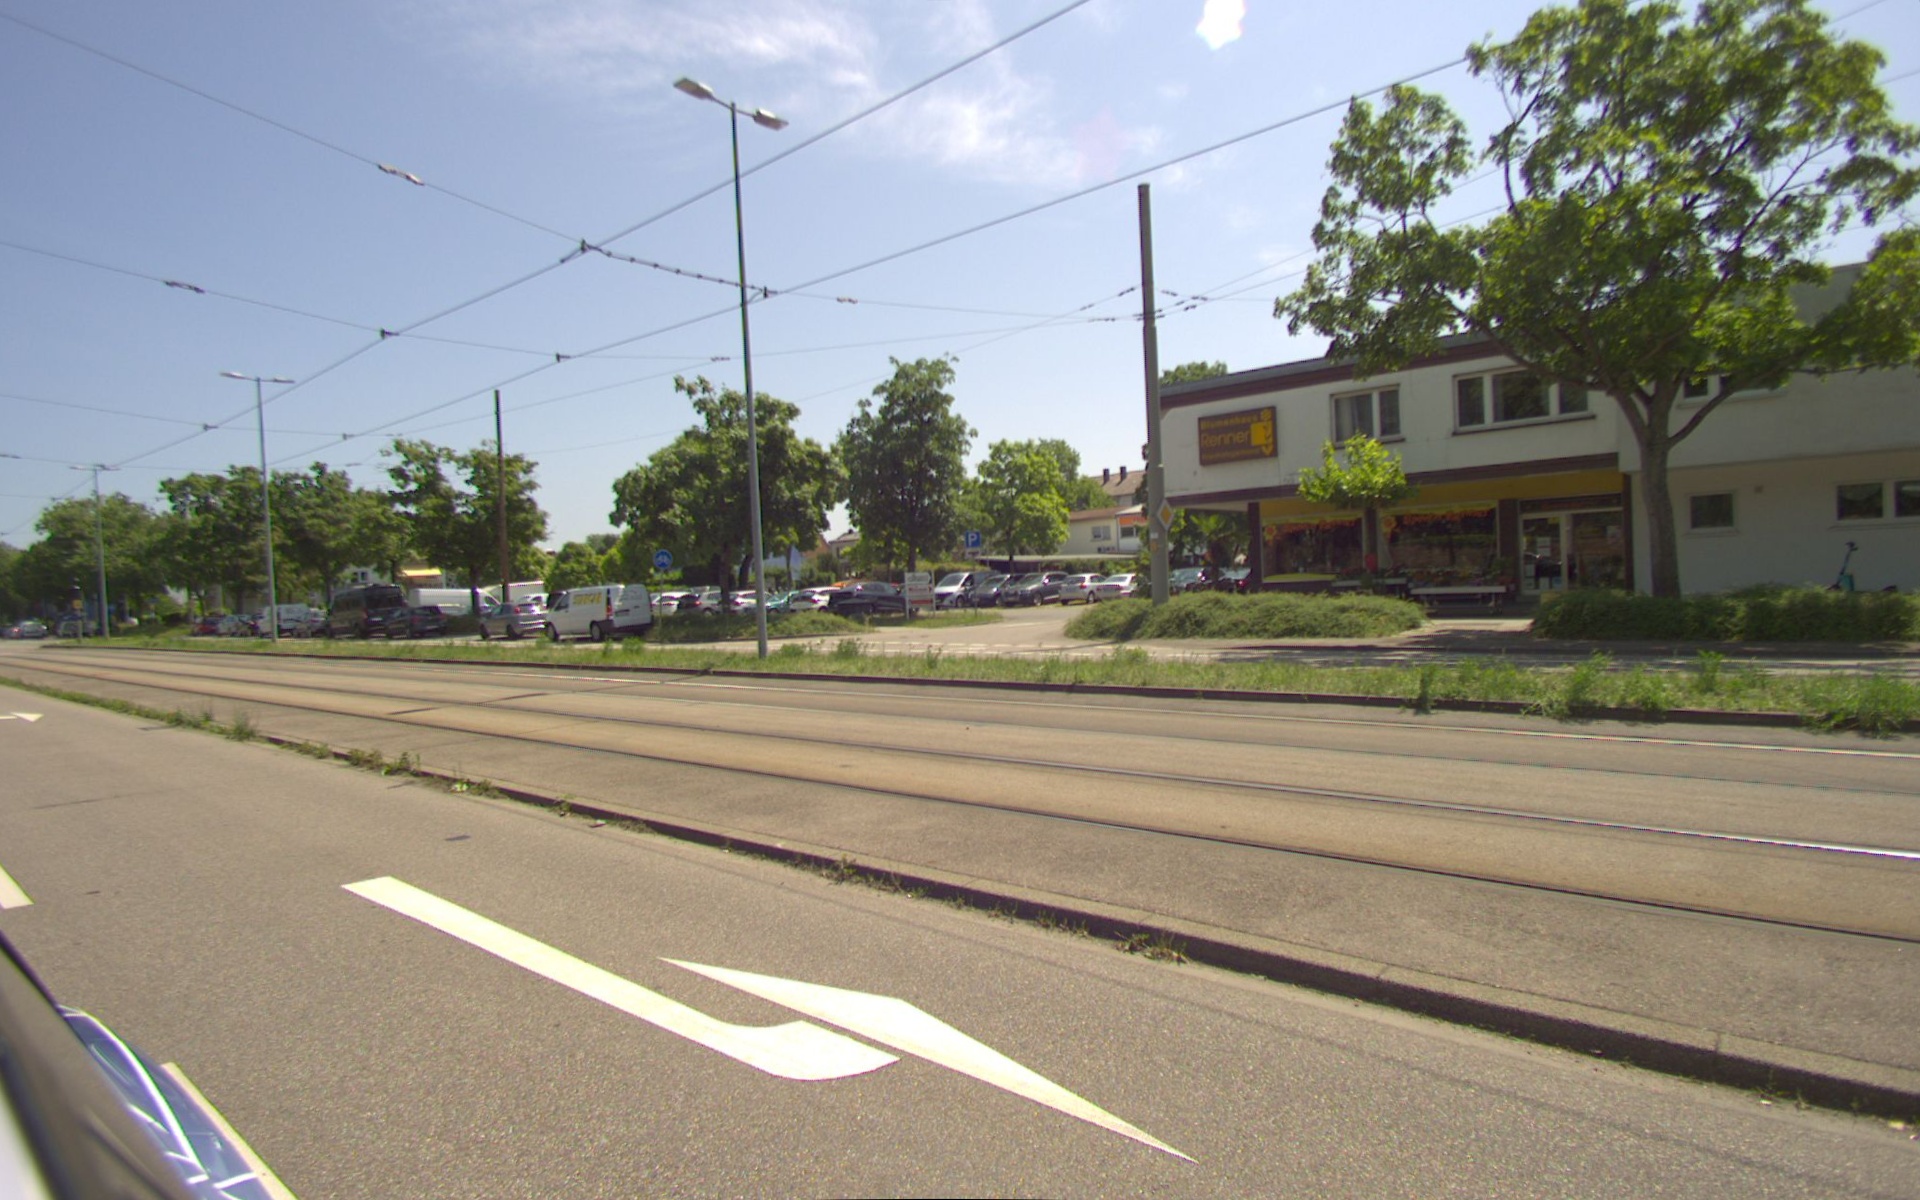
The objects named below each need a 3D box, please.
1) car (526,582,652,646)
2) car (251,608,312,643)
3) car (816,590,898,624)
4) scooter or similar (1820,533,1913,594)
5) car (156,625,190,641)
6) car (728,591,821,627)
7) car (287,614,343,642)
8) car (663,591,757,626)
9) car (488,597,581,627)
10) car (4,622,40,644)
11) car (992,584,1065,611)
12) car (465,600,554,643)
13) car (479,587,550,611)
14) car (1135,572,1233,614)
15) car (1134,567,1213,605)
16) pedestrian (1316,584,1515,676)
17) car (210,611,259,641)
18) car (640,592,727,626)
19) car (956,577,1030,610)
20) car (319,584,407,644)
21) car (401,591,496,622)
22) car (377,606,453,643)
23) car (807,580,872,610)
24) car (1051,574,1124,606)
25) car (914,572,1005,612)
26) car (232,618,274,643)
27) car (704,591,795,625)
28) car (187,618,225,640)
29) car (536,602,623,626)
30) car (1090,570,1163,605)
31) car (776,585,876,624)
[{"bbox_3d":[-13.521,0.504,36.704,5.342,2.025,1.856,-1,4,42],"label":"car"},{"bbox_3d":[-40.694,1.481,60.643,4.816,1.963,1.899,-1,0,42],"label":"car"},{"bbox_3d":[-4.269,0.276,42.442,1.639,1.241,3.386,-2,1,34],"label":"car"},{"bbox_3d":[18.808,-0.745,21.024,0.448,1.200,1.349,-1,0,-29],"label":"scooter or similar"},{"bbox_3d":[-62.124,2.554,79.878,3.423,1.167,1.561,-1,0,43],"label":"car"},{"bbox_3d":[-8.339,0.376,45.756,1.908,1.501,3.995,-1,0,34],"label":"car"},{"bbox_3d":[-36.252,1.533,56.834,3.608,1.475,1.744,-1,0,42],"label":"car"},{"bbox_3d":[-12.028,0.395,48.932,2.018,1.501,4.117,-2,1,34],"label":"car"},{"bbox_3d":[-25.971,0.728,61.888,1.997,1.588,4.867,-2,1,38],"label":"car"},{"bbox_3d":[-89.569,3.162,96.633,4.208,2.005,1.799,-1,0,38],"label":"car"},{"bbox_3d":[3.526,-0.137,51.677,1.764,1.294,3.675,-1,0,43],"label":"car"},{"bbox_3d":[-18.214,0.881,40.858,4.124,1.513,1.633,-1,4,42],"label":"car"},{"bbox_3d":[-40.733,-0.146,92.645,2.145,2.078,5.674,-1,0,38],"label":"car"},{"bbox_3d":[8.115,-0.274,36.441,1.682,1.306,3.944,-3,1,42],"label":"car"},{"bbox_3d":[9.852,-0.637,46.575,1.804,1.669,3.944,-1,0,43],"label":"car"},{"bbox_3d":[10.947,0.673,24.430,3.997,2.029,1.973,-1,0,40],"label":"pedestrian"},{"bbox_3d":[-48.536,1.749,67.668,4.494,1.907,1.614,-1,0,41],"label":"car"},{"bbox_3d":[-13.904,0.431,51.098,1.827,1.501,4.030,-2,1,34],"label":"car"},{"bbox_3d":[1.795,-0.370,53.826,1.804,1.669,3.944,-1,0,43],"label":"car"},{"bbox_3d":[-30.361,0.689,51.367,5.665,2.859,2.215,-1,0,42],"label":"car"},{"bbox_3d":[-34.551,0.428,68.530,2.029,1.970,5.363,-1,0,42],"label":"car"},{"bbox_3d":[-25.475,1.128,47.273,3.751,1.589,1.950,-1,0,42],"label":"car"},{"bbox_3d":[-7.365,-0.326,62.257,1.689,1.665,4.082,-2,0,35],"label":"car"},{"bbox_3d":[6.423,-0.517,50.700,1.661,1.531,3.944,-1,0,43],"label":"car"},{"bbox_3d":[0.011,-0.466,55.472,2.225,2.085,5.055,-1,0,41],"label":"car"},{"bbox_3d":[-44.889,1.893,64.241,3.261,1.489,1.411,-1,0,41],"label":"car"},{"bbox_3d":[-9.874,0.369,47.750,1.855,1.501,4.099,-1,0,34],"label":"car"},{"bbox_3d":[-53.376,2.046,71.588,3.423,1.491,1.561,-1,0,43],"label":"car"},{"bbox_3d":[-21.731,0.809,57.959,2.030,1.152,4.210,-2,1,37],"label":"car"},{"bbox_3d":[8.034,-0.604,48.583,1.520,1.591,3.944,-1,0,43],"label":"car"},{"bbox_3d":[-5.845,0.175,44.566,1.983,1.501,4.120,-2,1,39],"label":"car"}]
